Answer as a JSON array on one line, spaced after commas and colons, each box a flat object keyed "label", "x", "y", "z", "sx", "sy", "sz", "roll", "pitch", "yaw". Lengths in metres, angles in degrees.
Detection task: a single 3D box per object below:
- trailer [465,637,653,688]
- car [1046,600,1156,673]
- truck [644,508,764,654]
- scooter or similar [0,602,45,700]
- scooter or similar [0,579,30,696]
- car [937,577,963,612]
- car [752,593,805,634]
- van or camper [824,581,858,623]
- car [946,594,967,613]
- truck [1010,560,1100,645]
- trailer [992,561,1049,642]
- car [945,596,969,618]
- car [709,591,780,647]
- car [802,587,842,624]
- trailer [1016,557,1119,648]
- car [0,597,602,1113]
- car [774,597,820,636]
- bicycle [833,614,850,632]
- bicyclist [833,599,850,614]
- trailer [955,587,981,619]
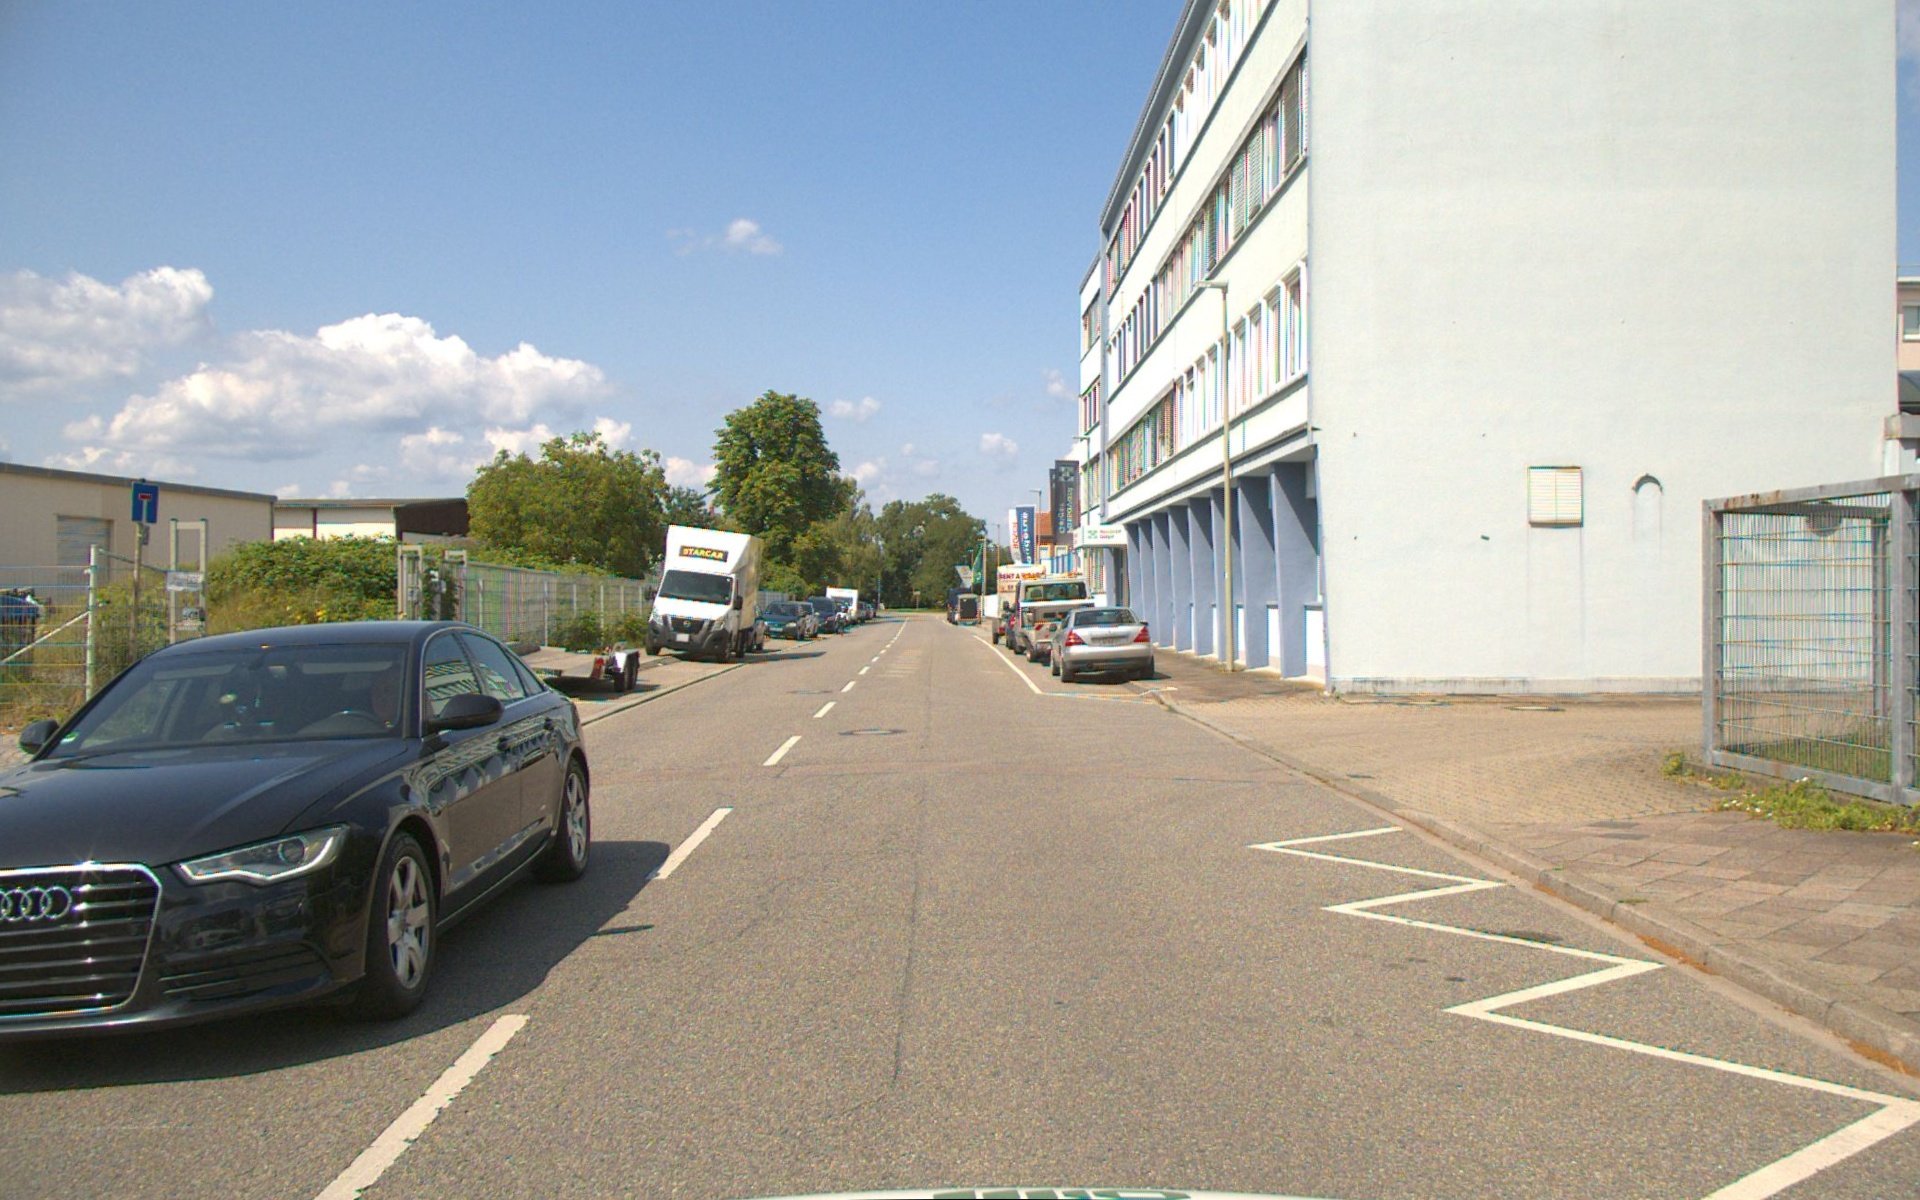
[{"label": "trailer", "x": -6.574, "y": 1.015, "z": 27.667, "sx": 2.190, "sy": 0.562, "sz": 4.443, "roll": 3, "pitch": 0, "yaw": -2}, {"label": "car", "x": 2.561, "y": 0.633, "z": 30.830, "sx": 1.613, "sy": 1.268, "sz": 3.999, "roll": 0, "pitch": 0, "yaw": -2}, {"label": "truck", "x": -6.454, "y": -0.460, "z": 42.525, "sx": 2.205, "sy": 3.421, "sz": 6.904, "roll": 1, "pitch": 0, "yaw": -2}, {"label": "scooter or similar", "x": -12.929, "y": 0.674, "z": 22.247, "sx": 0.882, "sy": 1.297, "sz": 0.876, "roll": 0, "pitch": 0, "yaw": 45}, {"label": "scooter or similar", "x": -13.830, "y": 0.508, "z": 23.097, "sx": 1.298, "sy": 1.614, "sz": 1.162, "roll": 0, "pitch": 0, "yaw": 45}, {"label": "car", "x": -0.830, "y": -0.403, "z": 134.801, "sx": 1.899, "sy": 2.796, "sz": 6.151, "roll": 0, "pitch": 0, "yaw": -2}, {"label": "car", "x": -7.064, "y": 0.523, "z": 64.677, "sx": 1.537, "sy": 1.423, "sz": 3.799, "roll": 5, "pitch": 0, "yaw": 0}, {"label": "van or camper", "x": -8.708, "y": 0.141, "z": 121.501, "sx": 2.218, "sy": 2.852, "sz": 6.829, "roll": 4, "pitch": -1, "yaw": -3}, {"label": "car", "x": -0.287, "y": 0.315, "z": 147.493, "sx": 1.788, "sy": 1.693, "sz": 4.554, "roll": 0, "pitch": 0, "yaw": -1}, {"label": "truck", "x": 2.398, "y": 0.074, "z": 42.912, "sx": 1.924, "sy": 2.071, "sz": 4.732, "roll": 0, "pitch": 0, "yaw": -2}, {"label": "trailer", "x": 1.993, "y": 0.054, "z": 55.491, "sx": 1.830, "sy": 2.598, "sz": 5.072, "roll": 0, "pitch": 0, "yaw": 1}, {"label": "car", "x": -0.210, "y": 0.499, "z": 117.100, "sx": 1.540, "sy": 1.534, "sz": 4.131, "roll": 0, "pitch": 0, "yaw": -2}, {"label": "car", "x": -6.557, "y": 0.564, "z": 50.595, "sx": 1.587, "sy": 1.454, "sz": 3.825, "roll": 6, "pitch": 0, "yaw": -1}, {"label": "car", "x": -6.910, "y": 0.285, "z": 83.007, "sx": 1.765, "sy": 1.780, "sz": 4.711, "roll": 0, "pitch": 0, "yaw": -2}, {"label": "trailer", "x": 2.480, "y": 0.060, "z": 39.510, "sx": 1.933, "sy": 2.005, "sz": 5.764, "roll": 0, "pitch": 0, "yaw": -2}, {"label": "car", "x": -2.832, "y": 0.773, "z": 7.035, "sx": 1.749, "sy": 1.463, "sz": 4.307, "roll": -3, "pitch": 0, "yaw": -2}, {"label": "car", "x": -6.832, "y": 0.676, "z": 69.611, "sx": 1.583, "sy": 1.509, "sz": 3.708, "roll": 2, "pitch": 0, "yaw": -1}, {"label": "bicycle", "x": -5.217, "y": 0.999, "z": 72.896, "sx": 0.575, "sy": 0.754, "sz": 2.125, "roll": 0, "pitch": 0, "yaw": 1}, {"label": "bicyclist", "x": -5.209, "y": 0.267, "z": 72.883, "sx": 0.554, "sy": 0.642, "sz": 1.858, "roll": 1, "pitch": 0, "yaw": 1}, {"label": "trailer", "x": 0.520, "y": 0.185, "z": 110.863, "sx": 1.569, "sy": 2.073, "sz": 2.740, "roll": 1, "pitch": -1, "yaw": -2}]
